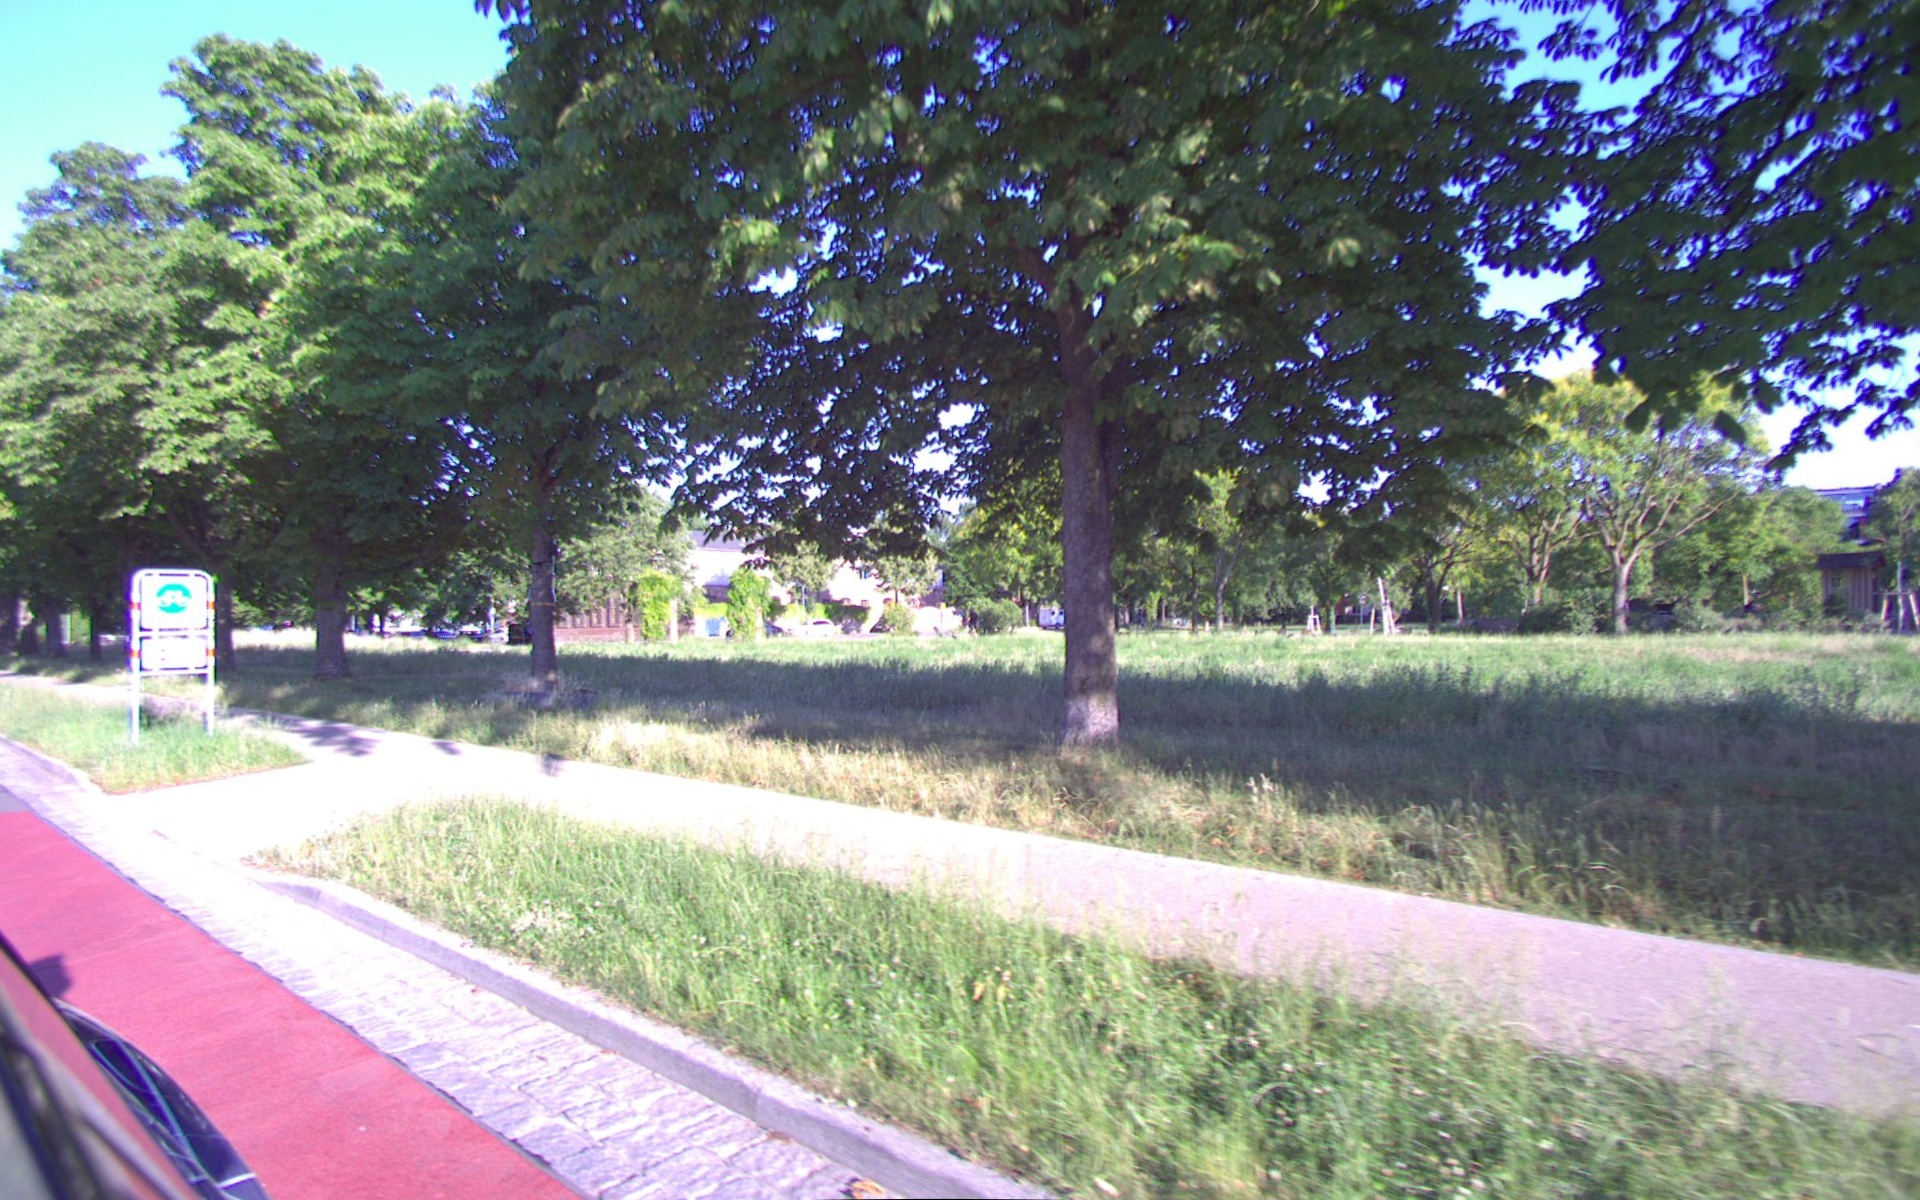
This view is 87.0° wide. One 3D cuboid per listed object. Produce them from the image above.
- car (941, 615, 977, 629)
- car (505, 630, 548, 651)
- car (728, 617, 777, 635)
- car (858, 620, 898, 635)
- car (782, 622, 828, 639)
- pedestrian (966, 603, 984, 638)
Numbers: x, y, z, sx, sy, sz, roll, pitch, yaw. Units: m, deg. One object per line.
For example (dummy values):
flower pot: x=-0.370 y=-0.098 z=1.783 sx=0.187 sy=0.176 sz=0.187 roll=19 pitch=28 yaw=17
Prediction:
car: x=-0.073 y=2.250 z=102.691 sx=1.586 sy=1.290 sz=3.589 roll=-2 pitch=0 yaw=42
car: x=-32.703 y=3.076 z=76.297 sx=3.638 sy=1.492 sz=1.564 roll=-2 pitch=0 yaw=42
car: x=-16.537 y=2.074 z=80.606 sx=1.586 sy=1.290 sz=3.589 roll=-2 pitch=0 yaw=42
car: x=-7.530 y=2.507 z=92.962 sx=1.586 sy=1.290 sz=3.589 roll=-2 pitch=0 yaw=42
car: x=-13.032 y=2.570 z=85.016 sx=1.586 sy=1.290 sz=3.589 roll=-2 pitch=0 yaw=42
pedestrian: x=0.746 y=1.016 z=50.436 sx=0.709 sy=1.737 sz=0.774 roll=-2 pitch=0 yaw=13
